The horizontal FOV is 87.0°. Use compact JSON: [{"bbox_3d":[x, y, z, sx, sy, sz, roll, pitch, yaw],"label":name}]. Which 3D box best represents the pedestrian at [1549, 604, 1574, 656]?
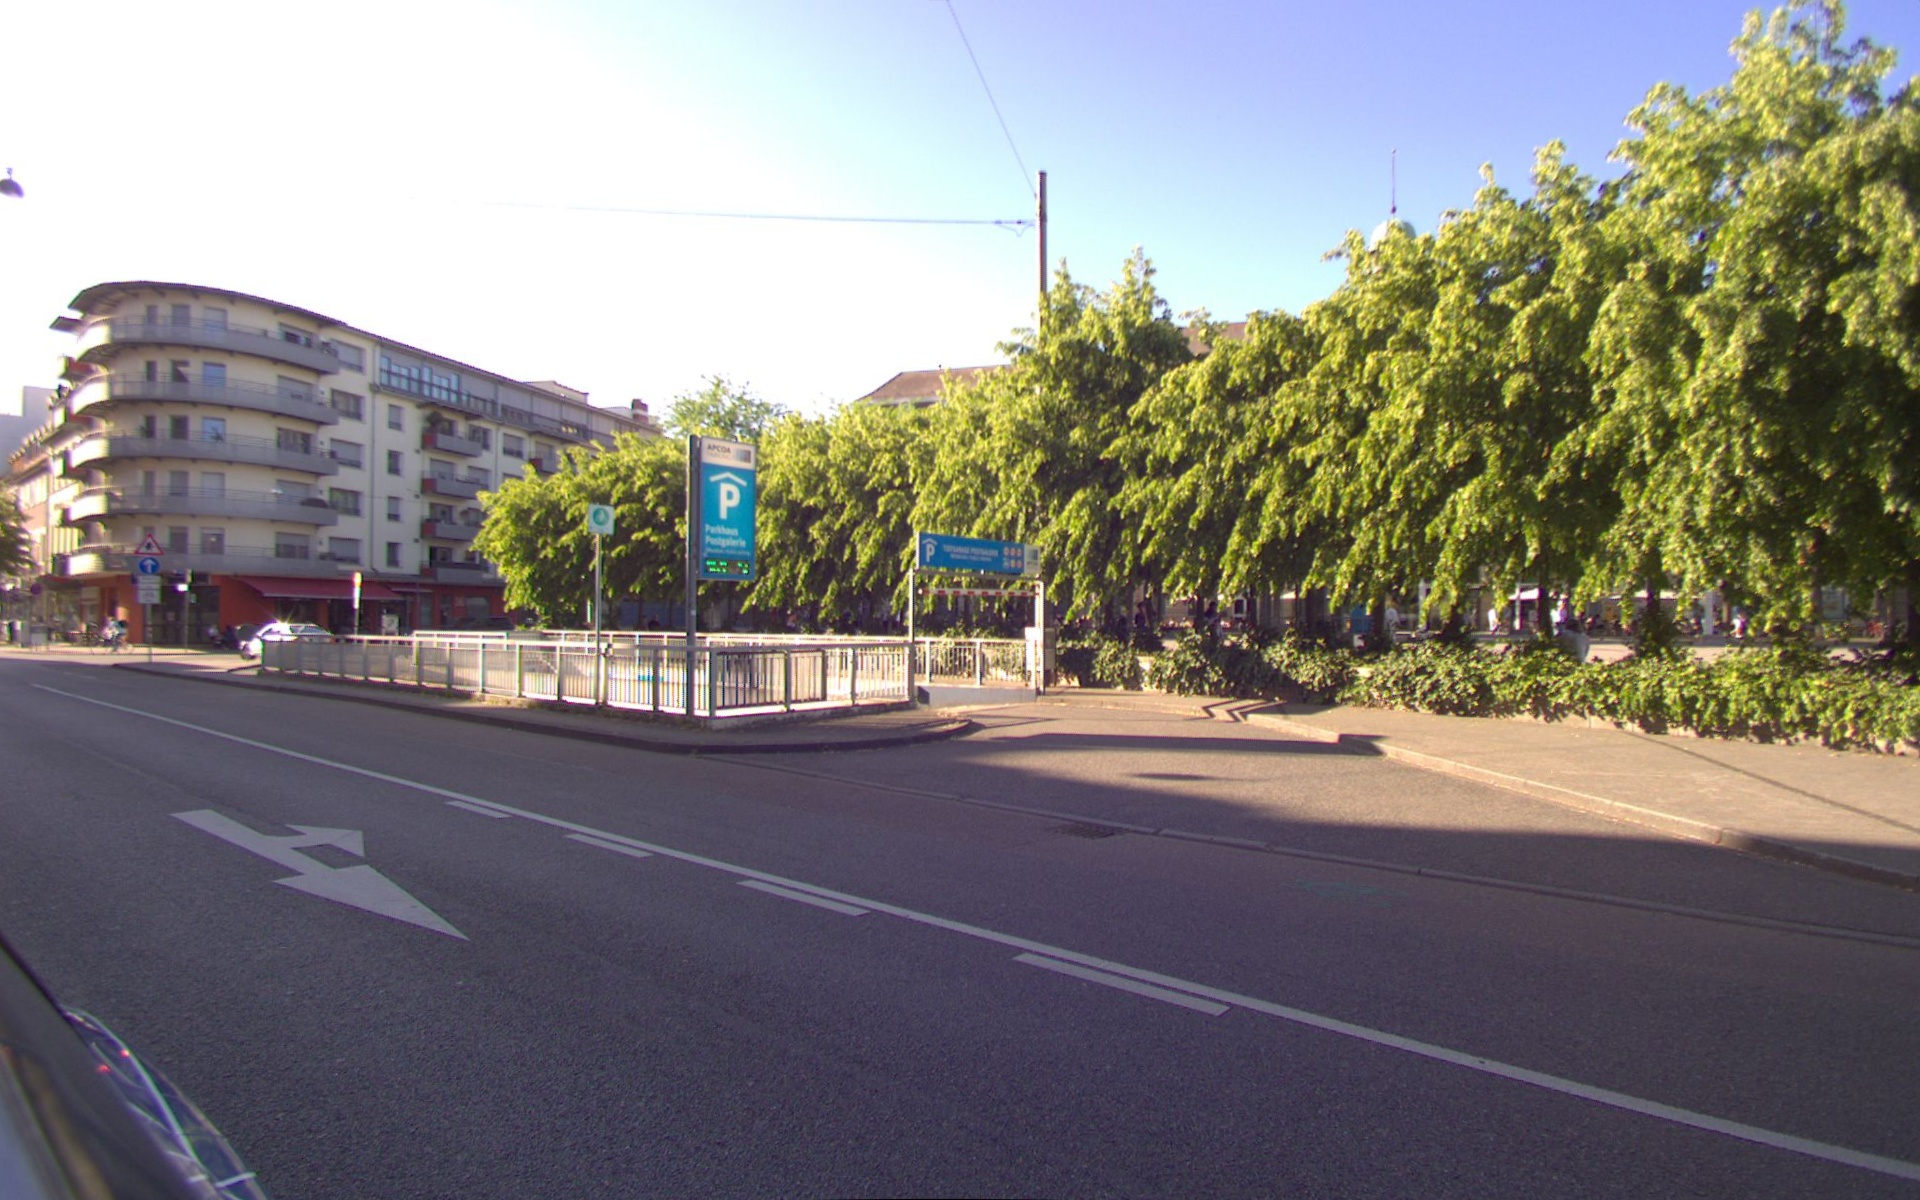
[{"bbox_3d":[20.363,0.992,34.267,0.643,1.734,0.604,-1,0,22],"label":"pedestrian"}]

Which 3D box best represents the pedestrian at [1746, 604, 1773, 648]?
[{"bbox_3d":[31.807,1.034,40.268,0.640,1.734,0.606,-1,0,13],"label":"pedestrian"}]

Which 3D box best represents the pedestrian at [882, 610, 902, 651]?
[{"bbox_3d":[-2.922,1.300,43.619,0.604,1.734,0.642,-1,0,21],"label":"pedestrian"}]

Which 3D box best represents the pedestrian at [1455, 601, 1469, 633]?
[{"bbox_3d":[26.802,0.901,54.003,0.643,1.734,0.603,-1,0,26],"label":"pedestrian"}]

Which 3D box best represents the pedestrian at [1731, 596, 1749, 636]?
[{"bbox_3d":[38.809,0.813,50.336,0.676,1.963,0.632,-1,0,38],"label":"pedestrian"}]

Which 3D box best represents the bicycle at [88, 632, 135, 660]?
[{"bbox_3d":[-38.279,2.084,45.681,1.567,1.179,0.529,-1,0,-34],"label":"bicycle"}]

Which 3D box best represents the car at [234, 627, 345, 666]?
[{"bbox_3d":[-25.994,1.799,39.225,4.247,1.363,1.806,0,-2,29],"label":"car"}]

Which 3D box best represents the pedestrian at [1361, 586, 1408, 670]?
[{"bbox_3d":[8.572,0.555,20.442,0.645,1.661,0.626,-1,0,-35],"label":"pedestrian"}]

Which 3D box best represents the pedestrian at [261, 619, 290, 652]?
[{"bbox_3d":[-34.296,1.767,50.710,0.877,1.607,0.861,-1,0,2],"label":"pedestrian"}]

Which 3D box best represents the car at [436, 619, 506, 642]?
[{"bbox_3d":[-30.497,1.889,63.219,1.742,1.311,3.977,-1,-1,17],"label":"car"}]

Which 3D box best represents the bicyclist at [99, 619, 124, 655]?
[{"bbox_3d":[-38.300,1.662,45.672,0.785,1.559,0.526,-1,0,-34],"label":"bicyclist"}]

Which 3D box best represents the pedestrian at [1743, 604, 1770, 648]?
[{"bbox_3d":[31.849,1.034,40.461,0.641,1.734,0.605,-1,0,18],"label":"pedestrian"}]

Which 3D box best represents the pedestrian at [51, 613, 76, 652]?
[{"bbox_3d":[-46.676,1.675,52.711,0.888,2.029,0.850,-1,0,40],"label":"pedestrian"}]

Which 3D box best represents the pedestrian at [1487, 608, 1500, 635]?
[{"bbox_3d":[34.501,1.375,65.486,0.642,1.734,0.604,-1,0,20],"label":"pedestrian"}]

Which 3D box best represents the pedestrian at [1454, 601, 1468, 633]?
[{"bbox_3d":[27.381,0.903,55.340,0.643,1.734,0.603,-1,0,26],"label":"pedestrian"}]

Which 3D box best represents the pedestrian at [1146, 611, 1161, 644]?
[{"bbox_3d":[10.273,1.452,53.656,0.606,1.734,0.640,-1,0,31],"label":"pedestrian"}]
